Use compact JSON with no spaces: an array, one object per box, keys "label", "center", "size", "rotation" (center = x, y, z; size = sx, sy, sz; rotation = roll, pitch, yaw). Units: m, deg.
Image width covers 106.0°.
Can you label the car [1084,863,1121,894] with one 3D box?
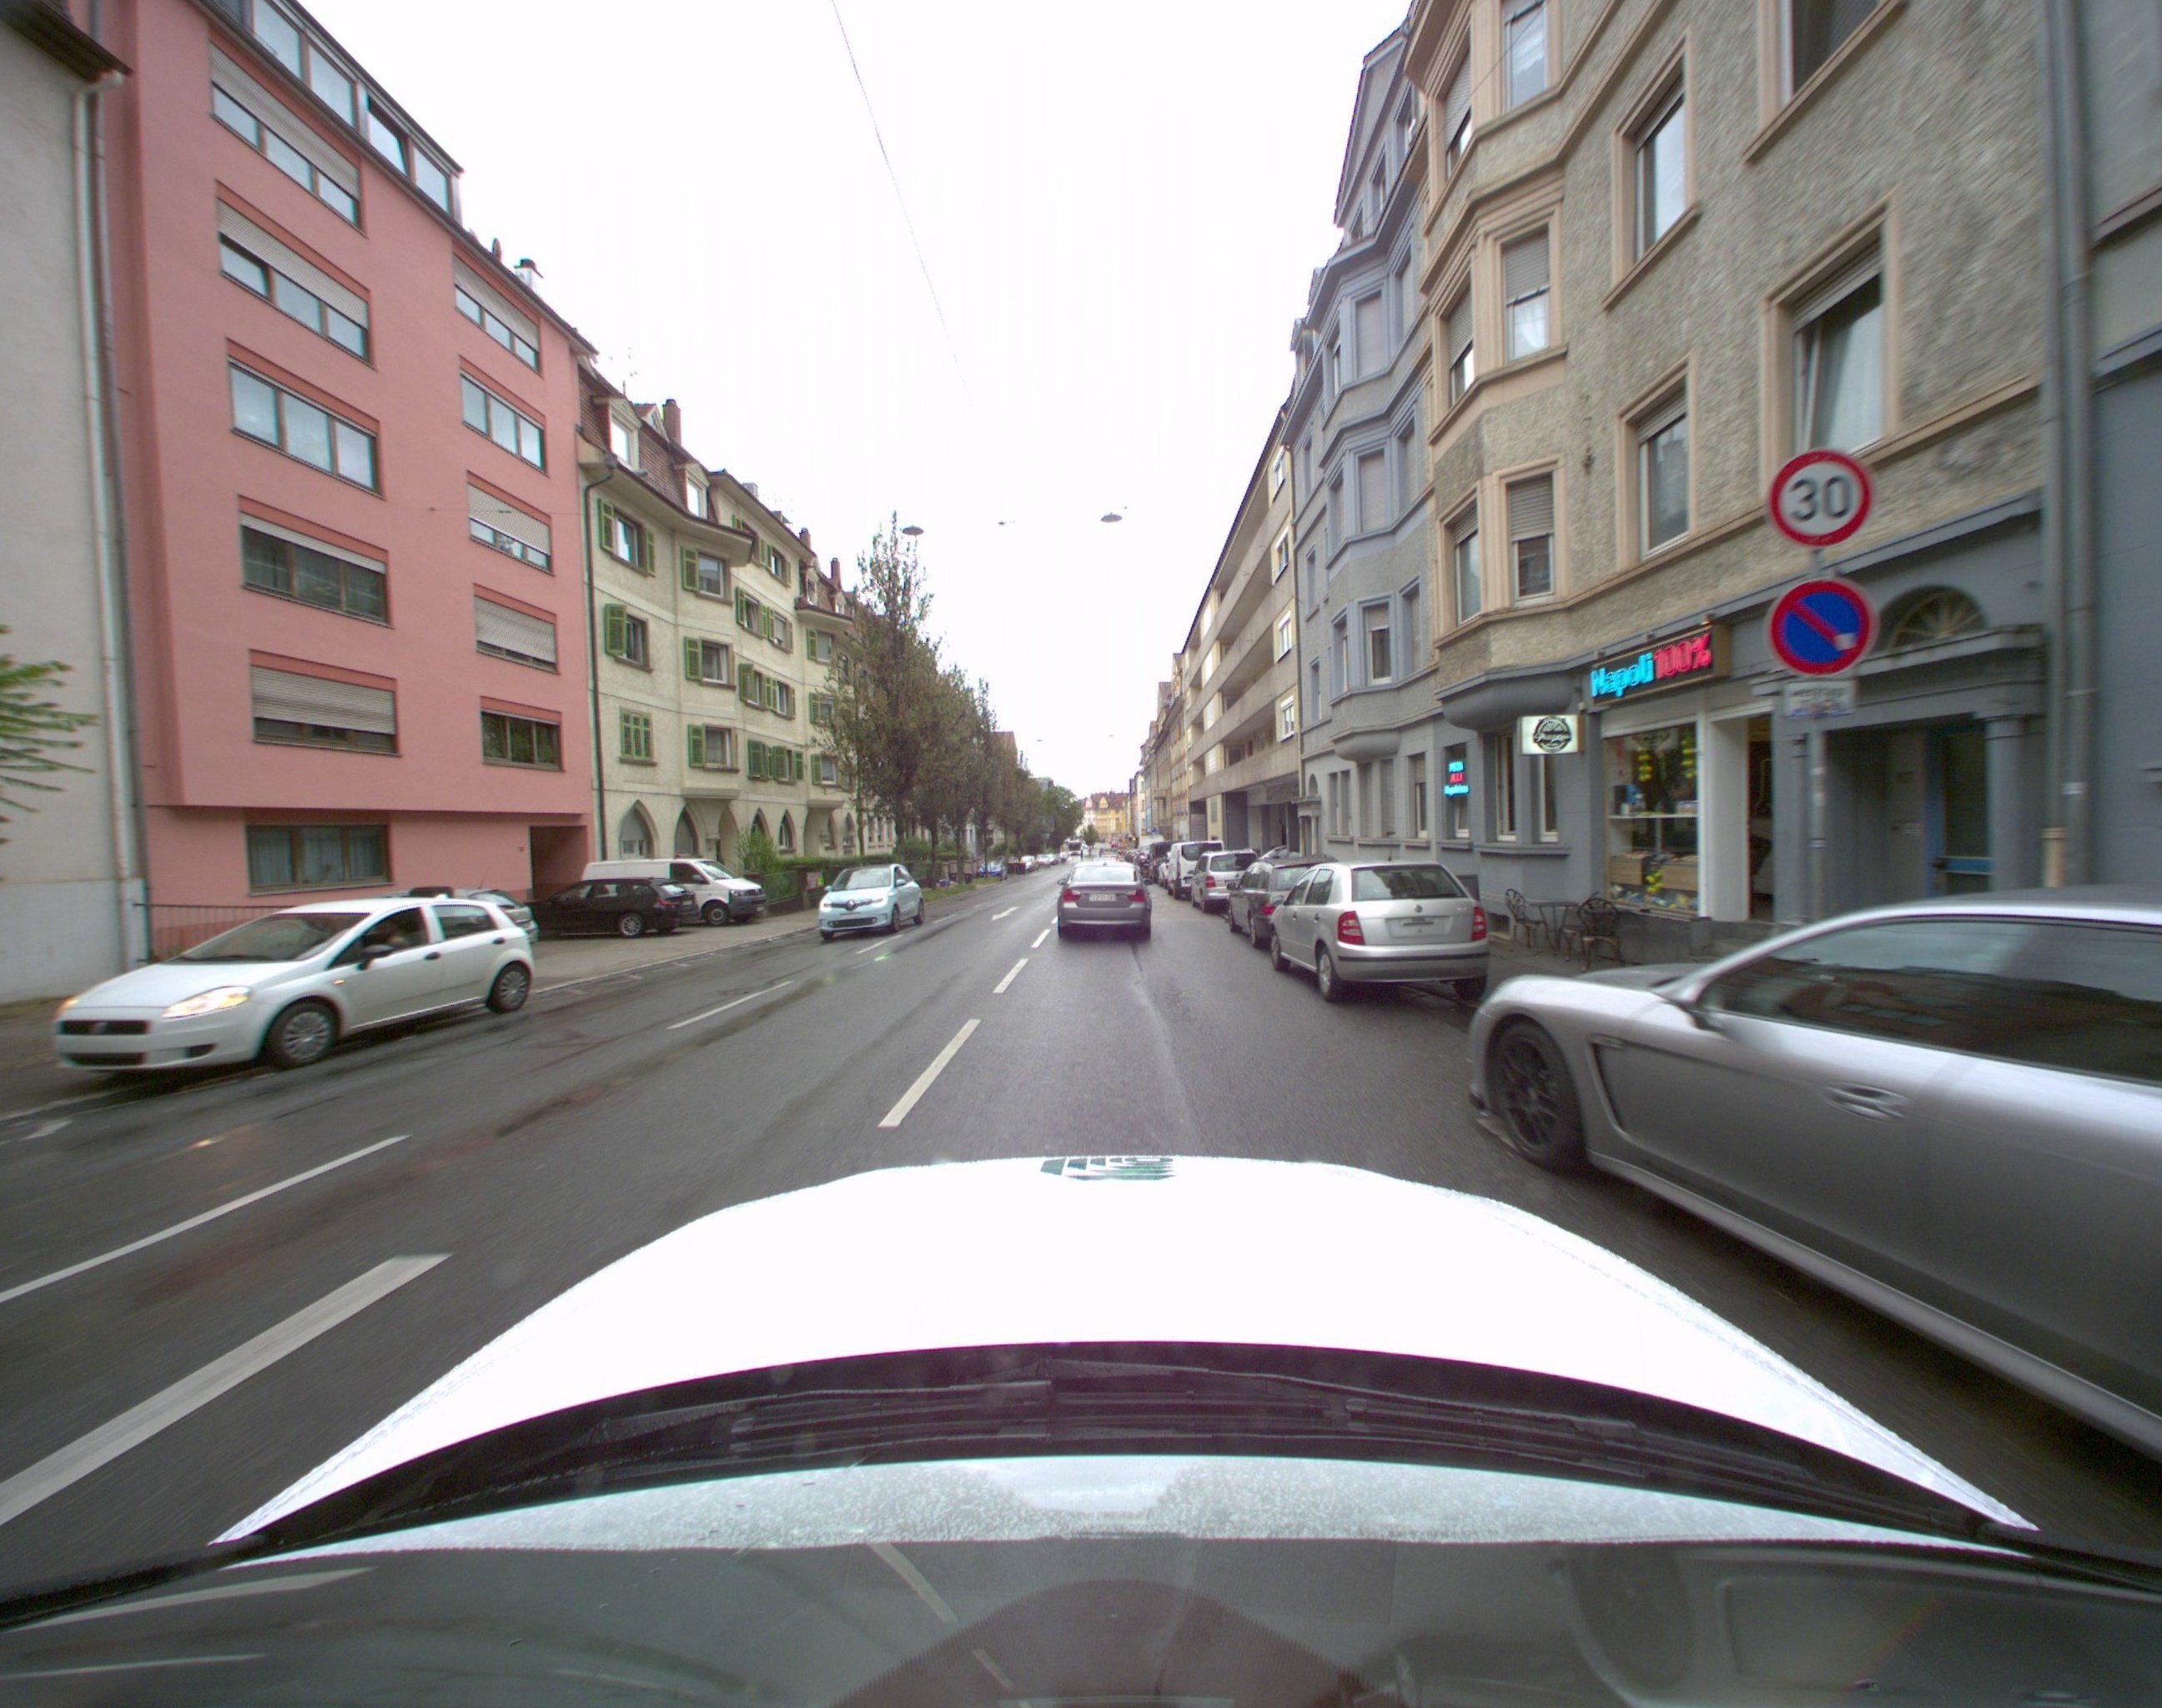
[{"label":"car","center":[1.083,1.162,39.816],"size":[1.675,1.428,3.744],"rotation":[0,0,3]}]

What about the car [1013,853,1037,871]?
[{"label":"car","center":[-5.362,0.764,78.413],"size":[1.820,1.523,3.739],"rotation":[-4,0,3]}]

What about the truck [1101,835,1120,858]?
[{"label":"truck","center":[3.296,-0.817,91.622],"size":[2.024,2.412,4.828],"rotation":[0,0,1]}]

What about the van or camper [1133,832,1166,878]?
[{"label":"van or camper","center":[4.677,0.055,55.243],"size":[2.023,2.868,6.896],"rotation":[1,0,6]}]

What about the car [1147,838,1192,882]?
[{"label":"car","center":[4.778,0.318,44.601],"size":[1.974,2.166,4.752],"rotation":[-3,0,2]}]

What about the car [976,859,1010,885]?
[{"label":"car","center":[-6.109,1.234,56.783],"size":[1.760,1.593,4.000],"rotation":[-4,0,1]}]

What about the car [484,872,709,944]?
[{"label":"car","center":[-11.883,1.295,20.190],"size":[4.418,1.451,1.791],"rotation":[-3,0,-1]}]

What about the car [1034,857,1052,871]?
[{"label":"car","center":[-4.607,1.148,98.838],"size":[1.684,1.523,3.739],"rotation":[-4,0,3]}]

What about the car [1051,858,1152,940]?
[{"label":"car","center":[0.454,0.803,16.167],"size":[1.762,1.428,3.744],"rotation":[0,0,3]}]

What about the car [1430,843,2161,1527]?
[{"label":"car","center":[3.191,0.704,2.555],"size":[1.872,1.467,4.767],"rotation":[-1,0,-4]}]

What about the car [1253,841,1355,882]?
[{"label":"car","center":[9.880,0.323,36.271],"size":[4.255,1.640,1.673],"rotation":[-2,2,14]}]

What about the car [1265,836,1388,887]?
[{"label":"car","center":[9.278,0.276,31.060],"size":[4.294,1.726,1.917],"rotation":[-2,2,14]}]

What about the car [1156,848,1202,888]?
[{"label":"car","center":[4.522,0.616,38.038],"size":[1.719,1.670,4.290],"rotation":[-3,0,2]}]

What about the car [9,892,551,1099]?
[{"label":"car","center":[-7.841,1.247,8.639],"size":[1.614,1.445,4.008],"rotation":[-2,0,3]}]

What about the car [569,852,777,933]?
[{"label":"car","center":[-11.493,1.051,23.198],"size":[4.811,1.974,2.049],"rotation":[-3,0,1]}]

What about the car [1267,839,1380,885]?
[{"label":"car","center":[9.818,0.324,33.156],"size":[4.255,1.640,1.673],"rotation":[-2,2,14]}]

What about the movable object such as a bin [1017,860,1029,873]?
[{"label":"movable object such as a bin","center":[-5.047,1.082,70.797],"size":[0.931,1.168,0.910],"rotation":[-1,0,2]}]

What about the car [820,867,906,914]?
[{"label":"car","center":[-7.423,1.197,28.117],"size":[1.719,1.484,3.992],"rotation":[0,0,3]}]

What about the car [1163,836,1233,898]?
[{"label":"car","center":[4.211,0.452,29.953],"size":[1.974,2.007,4.627],"rotation":[-3,0,2]}]

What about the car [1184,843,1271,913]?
[{"label":"car","center":[4.037,0.617,23.122],"size":[1.719,1.670,4.290],"rotation":[-4,0,2]}]

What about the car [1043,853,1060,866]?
[{"label":"car","center":[-3.836,0.745,106.235],"size":[1.684,1.523,3.739],"rotation":[-4,0,3]}]

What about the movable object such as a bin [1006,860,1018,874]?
[{"label":"movable object such as a bin","center":[-5.998,1.118,70.809],"size":[0.898,1.168,0.895],"rotation":[-1,0,2]}]

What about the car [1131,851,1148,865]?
[{"label":"car","center":[6.674,0.463,93.076],"size":[1.691,1.483,3.976],"rotation":[0,0,1]}]

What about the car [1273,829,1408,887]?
[{"label":"car","center":[9.062,0.142,28.502],"size":[4.290,1.804,2.017],"rotation":[-2,2,19]}]

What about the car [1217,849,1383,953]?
[{"label":"car","center":[3.805,0.728,15.069],"size":[1.892,1.478,4.802],"rotation":[-5,0,3]}]

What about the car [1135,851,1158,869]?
[{"label":"car","center":[5.527,0.498,69.108],"size":[1.691,1.483,3.976],"rotation":[0,0,1]}]

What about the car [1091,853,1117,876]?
[{"label":"car","center":[1.578,0.704,55.979],"size":[1.691,1.483,3.794],"rotation":[0,0,1]}]

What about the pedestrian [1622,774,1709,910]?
[{"label":"pedestrian","center":[7.224,-0.144,10.080],"size":[0.486,1.620,0.661],"rotation":[-3,0,-28]}]

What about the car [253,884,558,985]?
[{"label":"car","center":[-12.179,1.405,14.928],"size":[3.876,1.457,1.788],"rotation":[-3,0,-6]}]

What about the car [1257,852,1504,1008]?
[{"label":"car","center":[3.299,0.722,9.800],"size":[1.605,1.474,4.017],"rotation":[-1,0,2]}]

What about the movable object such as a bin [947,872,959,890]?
[{"label":"movable object such as a bin","center":[-6.977,1.468,44.460],"size":[0.575,0.912,0.637],"rotation":[-3,0,-12]}]

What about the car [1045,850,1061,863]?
[{"label":"car","center":[-3.770,0.326,110.613],"size":[1.684,1.523,3.739],"rotation":[-4,0,3]}]

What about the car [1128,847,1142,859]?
[{"label":"car","center":[6.805,-0.092,103.010],"size":[1.691,1.483,3.976],"rotation":[0,0,1]}]

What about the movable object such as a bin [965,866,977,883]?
[{"label":"movable object such as a bin","center":[-6.040,1.135,44.652],"size":[0.575,0.912,0.637],"rotation":[-3,0,-12]}]

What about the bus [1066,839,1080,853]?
[{"label":"bus","center":[-1.742,-1.815,186.036],"size":[2.658,3.024,7.674],"rotation":[-3,0,2]}]

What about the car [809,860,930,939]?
[{"label":"car","center":[-4.793,0.977,18.992],"size":[1.630,1.508,3.756],"rotation":[-5,0,2]}]
